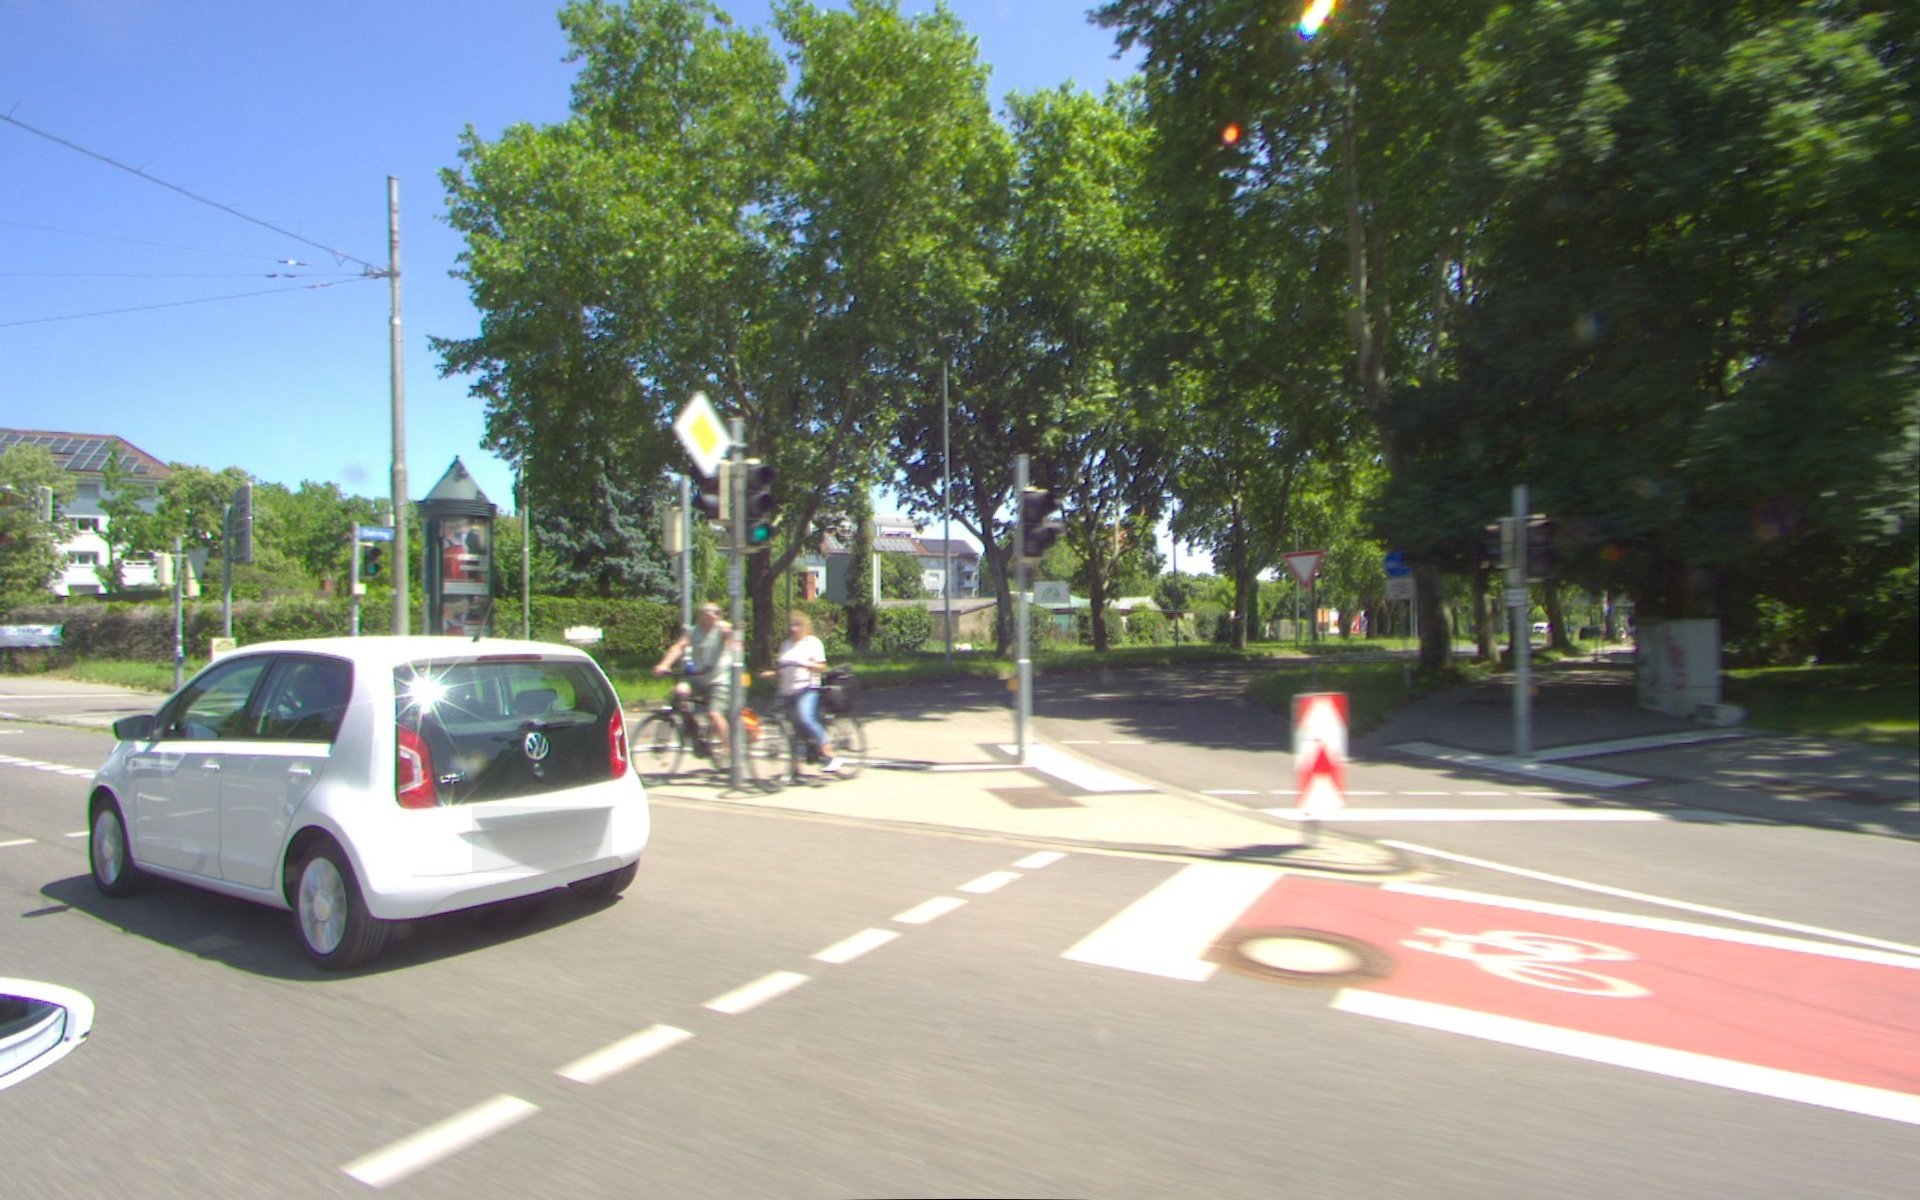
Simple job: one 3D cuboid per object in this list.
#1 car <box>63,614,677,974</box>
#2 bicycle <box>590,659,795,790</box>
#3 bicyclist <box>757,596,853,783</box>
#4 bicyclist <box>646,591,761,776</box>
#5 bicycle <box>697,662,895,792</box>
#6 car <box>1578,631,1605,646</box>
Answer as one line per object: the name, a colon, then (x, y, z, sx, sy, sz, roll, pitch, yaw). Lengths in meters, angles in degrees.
car: (-3.414, 0.844, 5.693, 3.386, 1.465, 1.607, 0, -3, 32)
bicycle: (-2.723, 1.224, 10.392, 0.883, 1.174, 1.944, -1, -2, 36)
bicyclist: (-1.570, 0.887, 10.151, 0.758, 1.810, 0.574, -1, -3, 39)
bicyclist: (-2.663, 0.835, 10.405, 0.964, 1.811, 0.721, -1, -1, 37)
bicycle: (-1.604, 1.212, 10.082, 0.884, 1.139, 1.860, -1, -3, 39)
car: (62.869, 3.817, 99.618, 1.690, 1.463, 3.357, -2, -4, 42)
